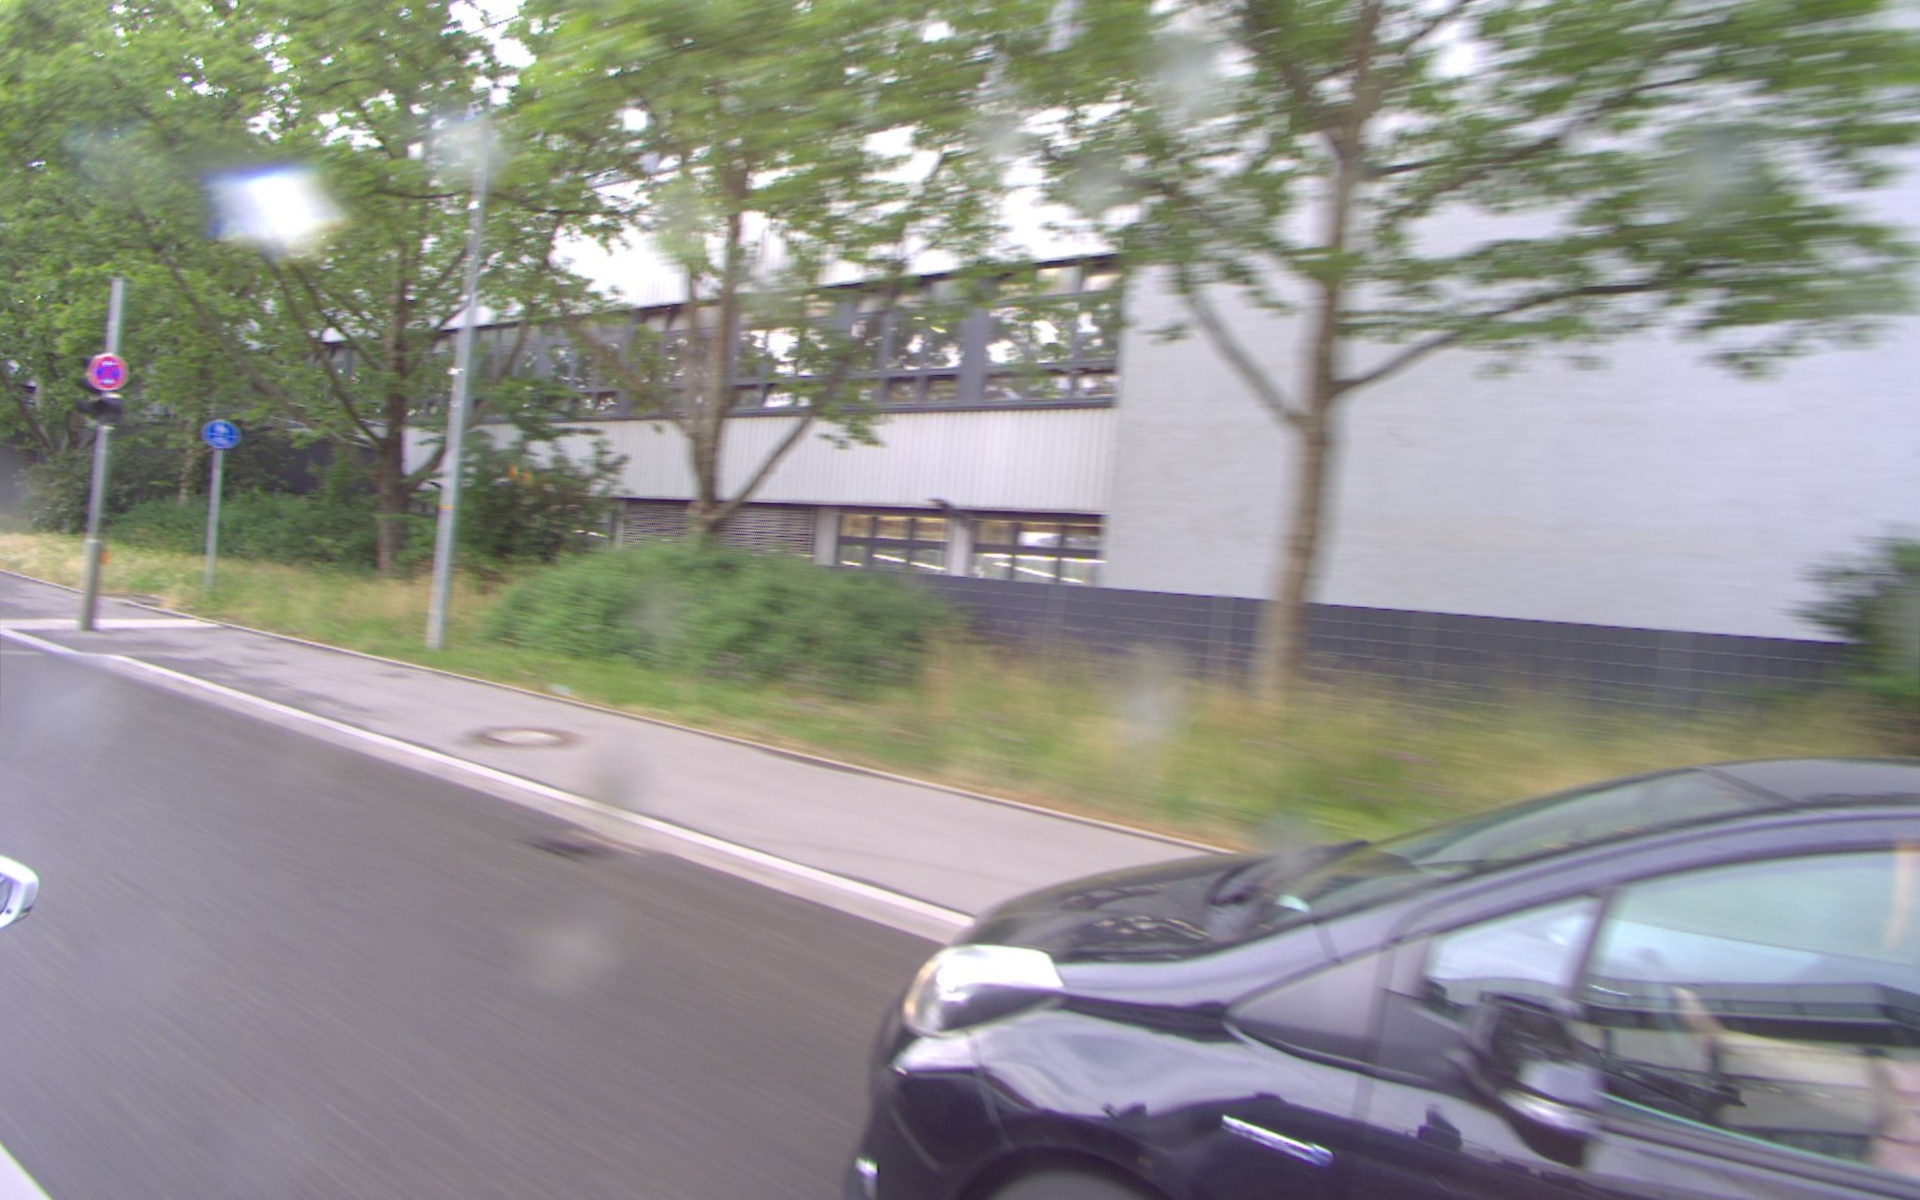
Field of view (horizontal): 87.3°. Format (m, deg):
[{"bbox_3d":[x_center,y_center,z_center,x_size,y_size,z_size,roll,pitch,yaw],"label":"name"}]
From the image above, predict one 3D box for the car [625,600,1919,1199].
[{"bbox_3d":[1.716,1.026,1.765,4.563,1.487,1.748,6,-1,31],"label":"car"}]
